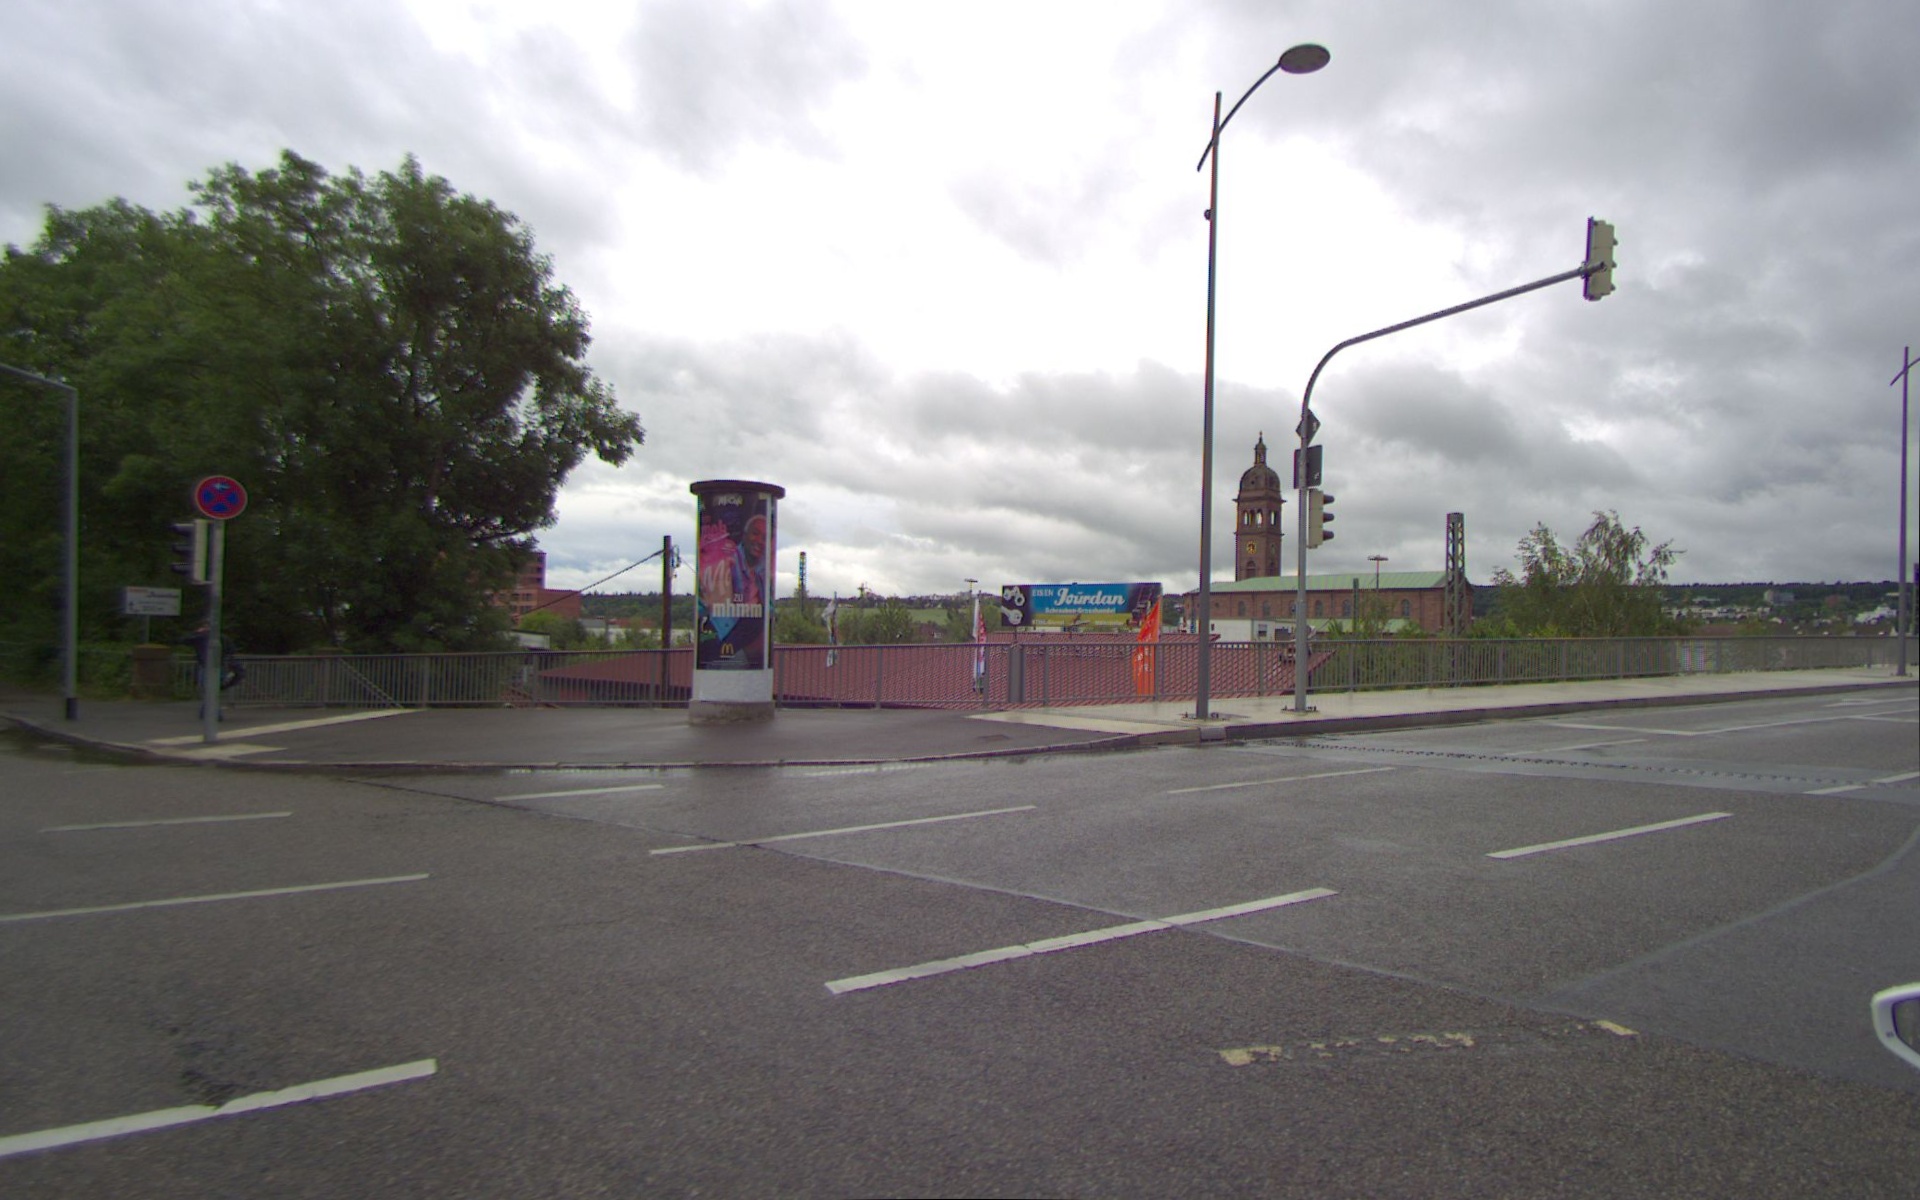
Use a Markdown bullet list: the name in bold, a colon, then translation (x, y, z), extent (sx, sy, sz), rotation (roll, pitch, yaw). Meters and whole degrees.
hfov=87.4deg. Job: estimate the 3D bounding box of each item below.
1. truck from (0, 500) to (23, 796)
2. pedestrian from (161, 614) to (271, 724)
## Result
- **truck**: translation (-7.627, 0.259, 3.996), extent (2.359, 2.157, 5.320), rotation (2, -3, 7)
- **pedestrian**: translation (-12.784, 1.176, 17.288), extent (1.052, 1.780, 1.062), rotation (1, -3, 26)
